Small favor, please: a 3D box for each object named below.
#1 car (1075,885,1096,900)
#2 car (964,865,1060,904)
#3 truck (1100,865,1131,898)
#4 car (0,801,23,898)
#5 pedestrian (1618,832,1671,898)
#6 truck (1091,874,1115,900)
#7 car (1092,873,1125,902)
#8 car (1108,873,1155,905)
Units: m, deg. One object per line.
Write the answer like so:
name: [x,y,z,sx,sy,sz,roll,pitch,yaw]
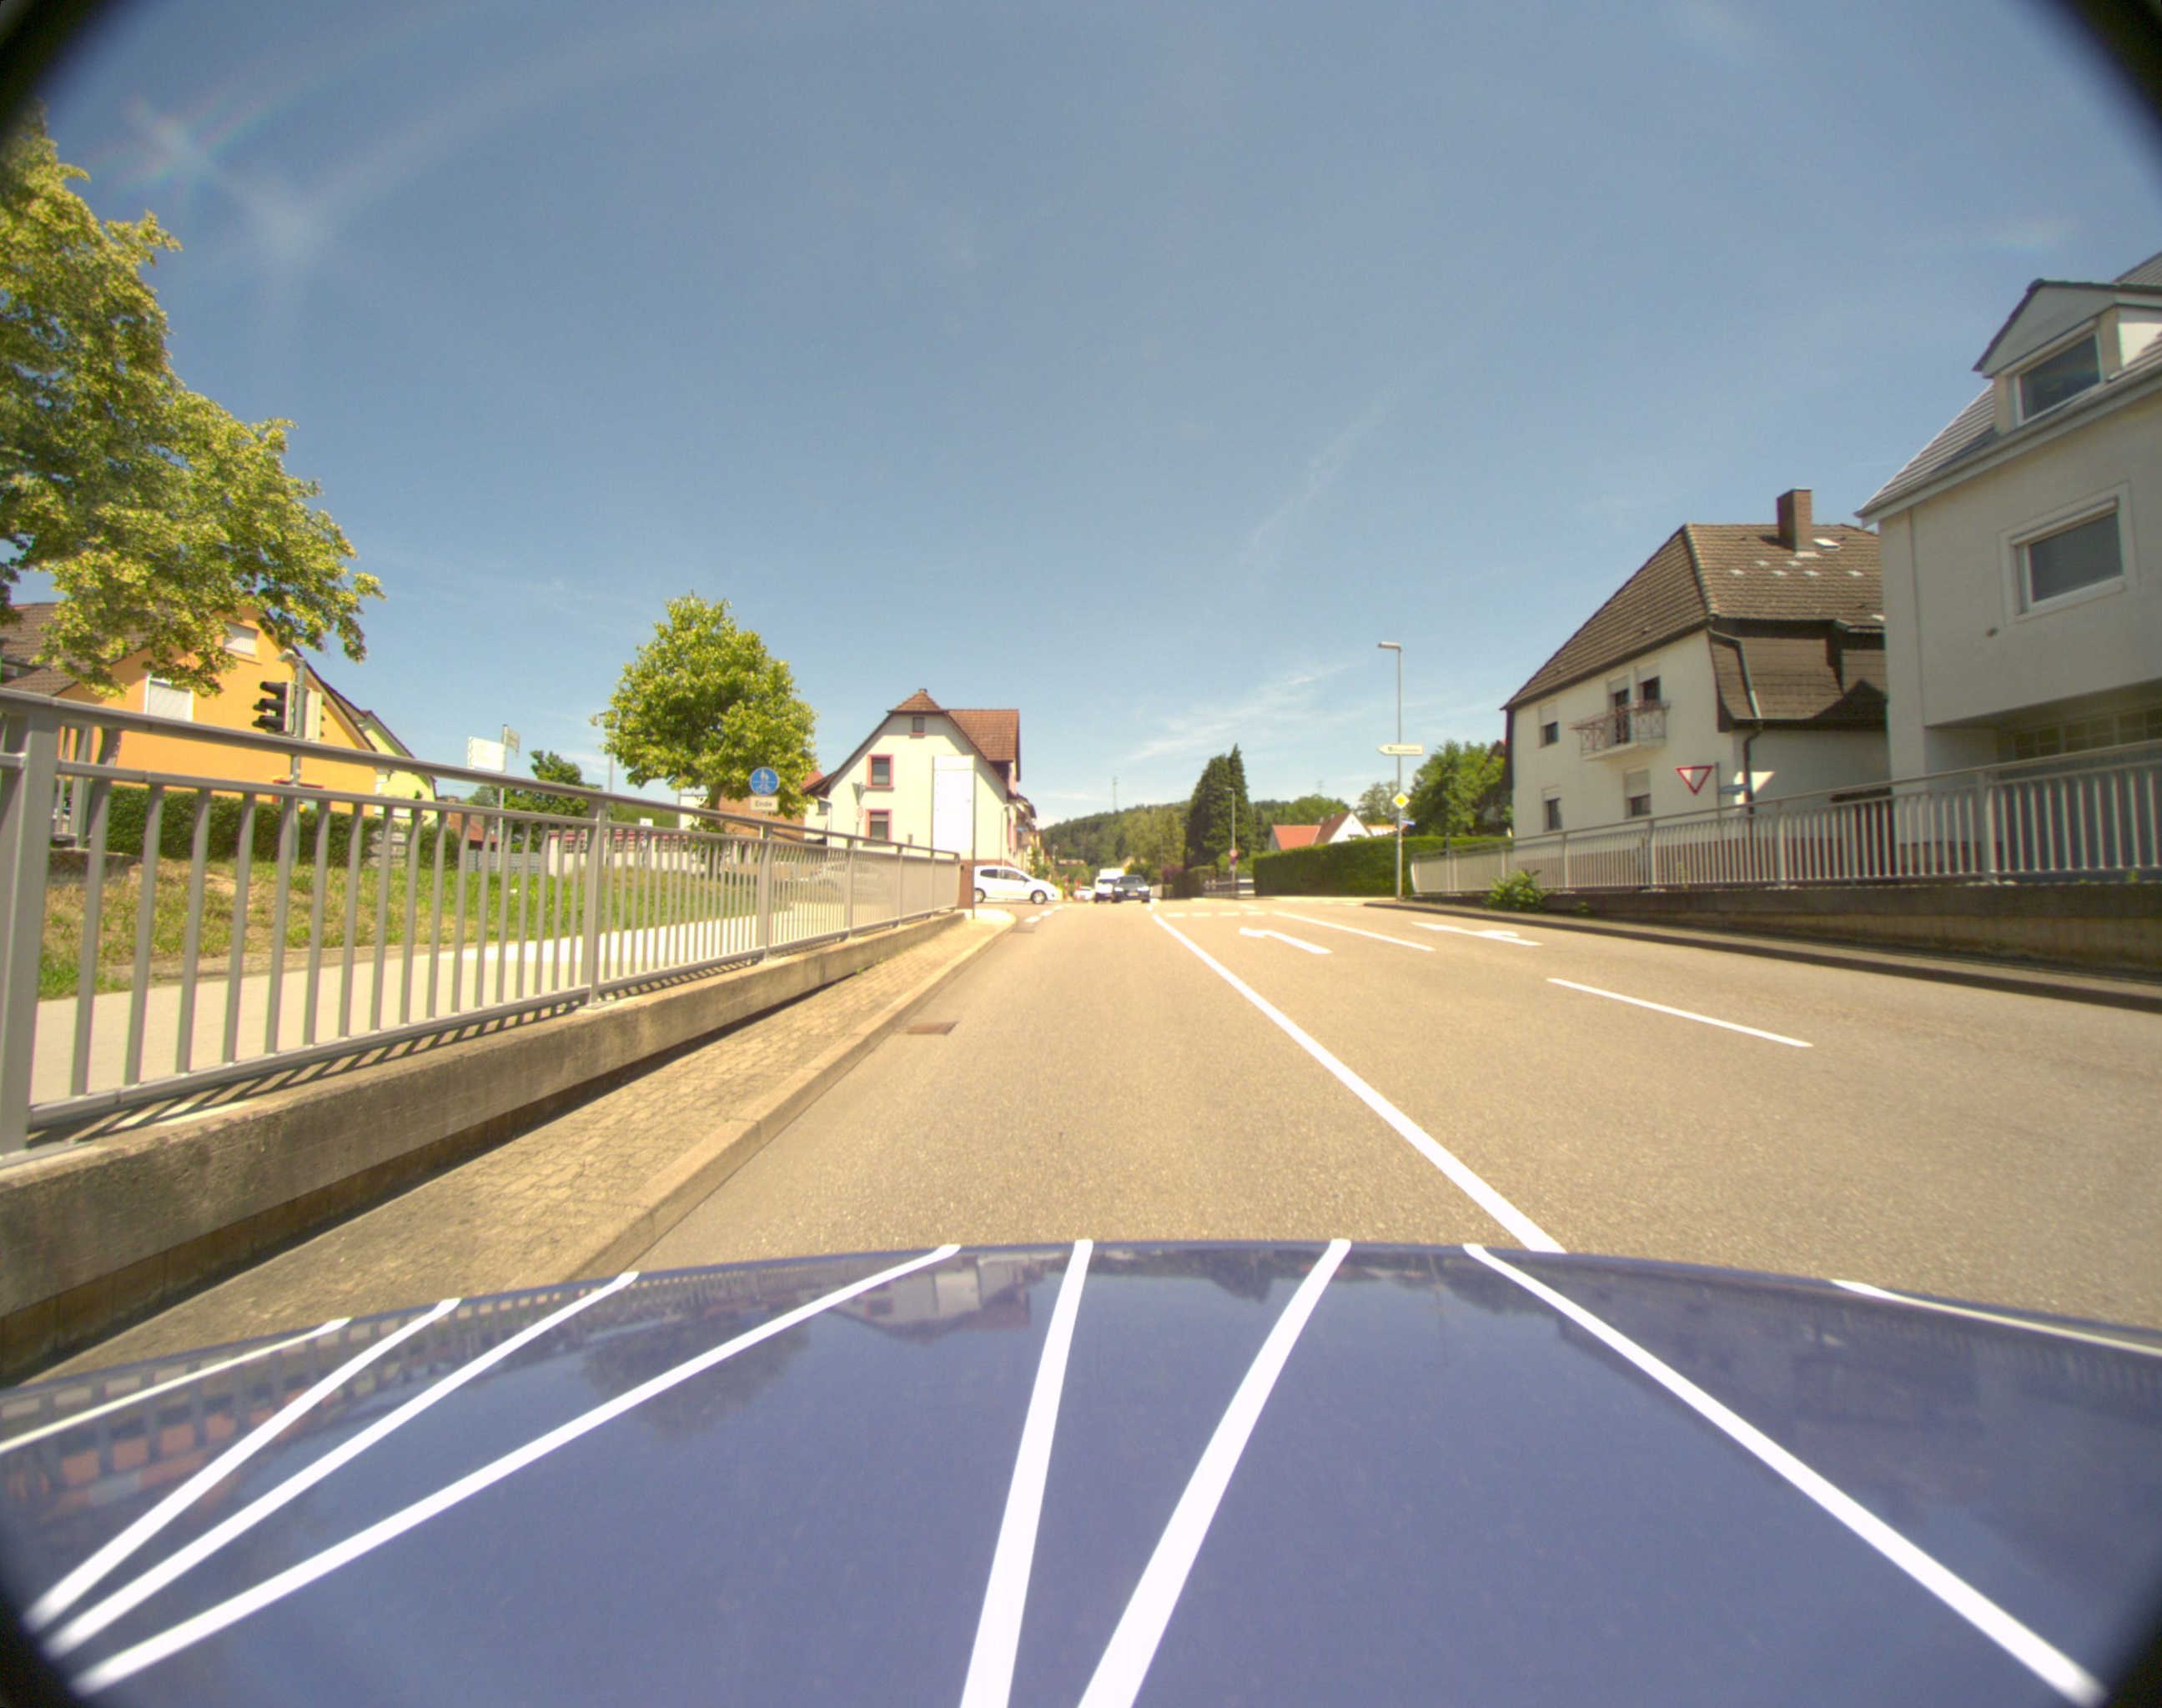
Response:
car: [0.518,4.032,80.453,1.998,1.509,4.147,0,-2,4]
car: [-2.732,1.211,30.361,3.681,1.469,1.775,1,-1,-5]
truck: [3.768,3.169,84.627,3.149,3.465,8.276,-1,-3,0]
car: [-18.010,-0.188,10.428,1.870,1.579,4.153,0,-3,-17]
pedestrian: [15.088,0.289,20.368,0.729,1.719,0.856,-2,0,-2]
truck: [3.038,4.741,108.165,3.149,3.464,8.276,-1,-3,0]
car: [1.954,2.423,56.167,1.999,2.001,4.548,-2,-2,-3]
car: [2.435,1.692,37.253,1.864,1.441,4.000,0,-1,-2]
